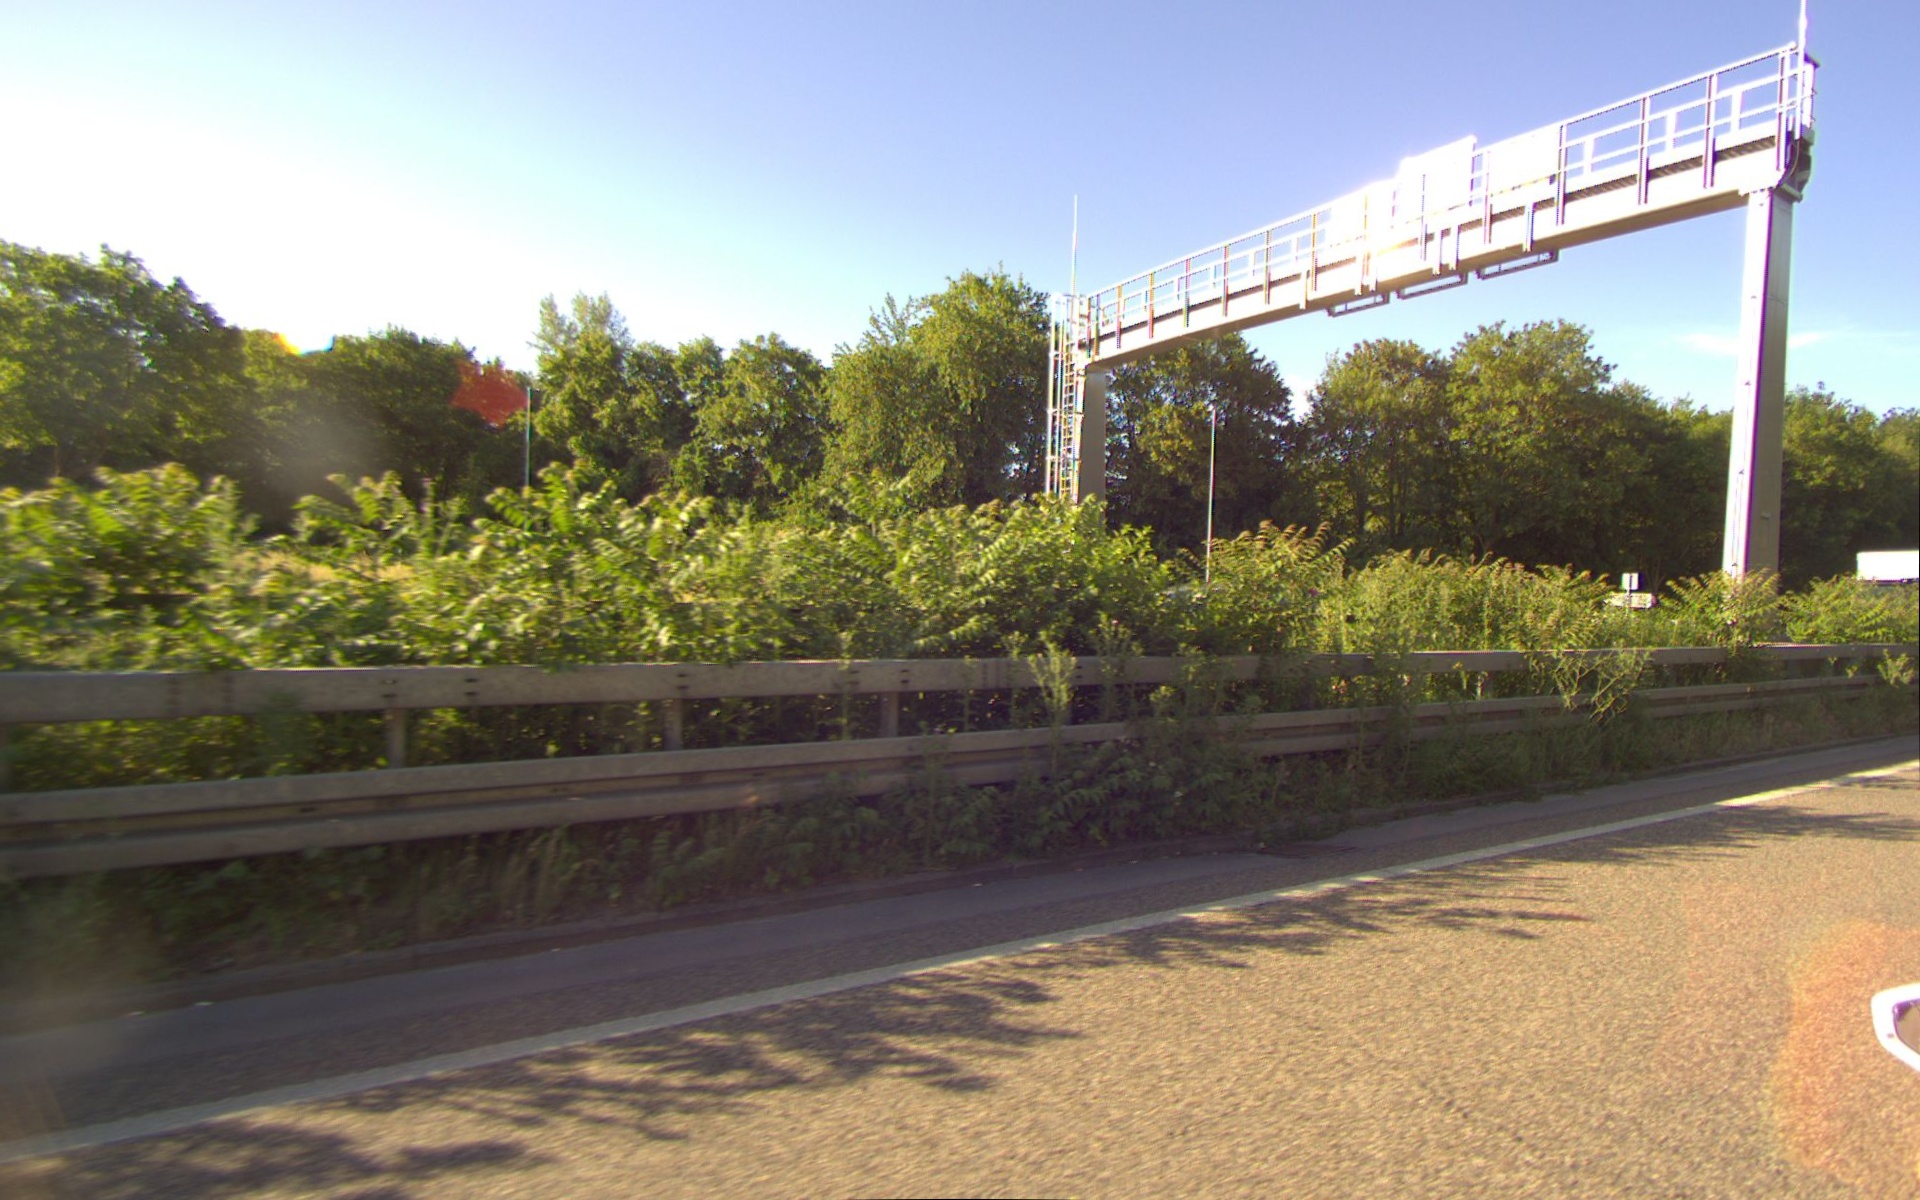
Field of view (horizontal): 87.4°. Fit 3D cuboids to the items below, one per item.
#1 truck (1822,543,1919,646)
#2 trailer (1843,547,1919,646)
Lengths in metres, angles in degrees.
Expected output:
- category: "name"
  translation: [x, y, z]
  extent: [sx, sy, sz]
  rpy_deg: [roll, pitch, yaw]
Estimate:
- category: "truck"
  translation: [39.274, -0.210, 42.421]
  extent: [6.115, 4.081, 2.721]
  rpy_deg: [1, 1, -34]
- category: "trailer"
  translation: [44.704, -0.066, 46.112]
  extent: [13.928, 4.081, 2.721]
  rpy_deg: [1, 1, -34]
